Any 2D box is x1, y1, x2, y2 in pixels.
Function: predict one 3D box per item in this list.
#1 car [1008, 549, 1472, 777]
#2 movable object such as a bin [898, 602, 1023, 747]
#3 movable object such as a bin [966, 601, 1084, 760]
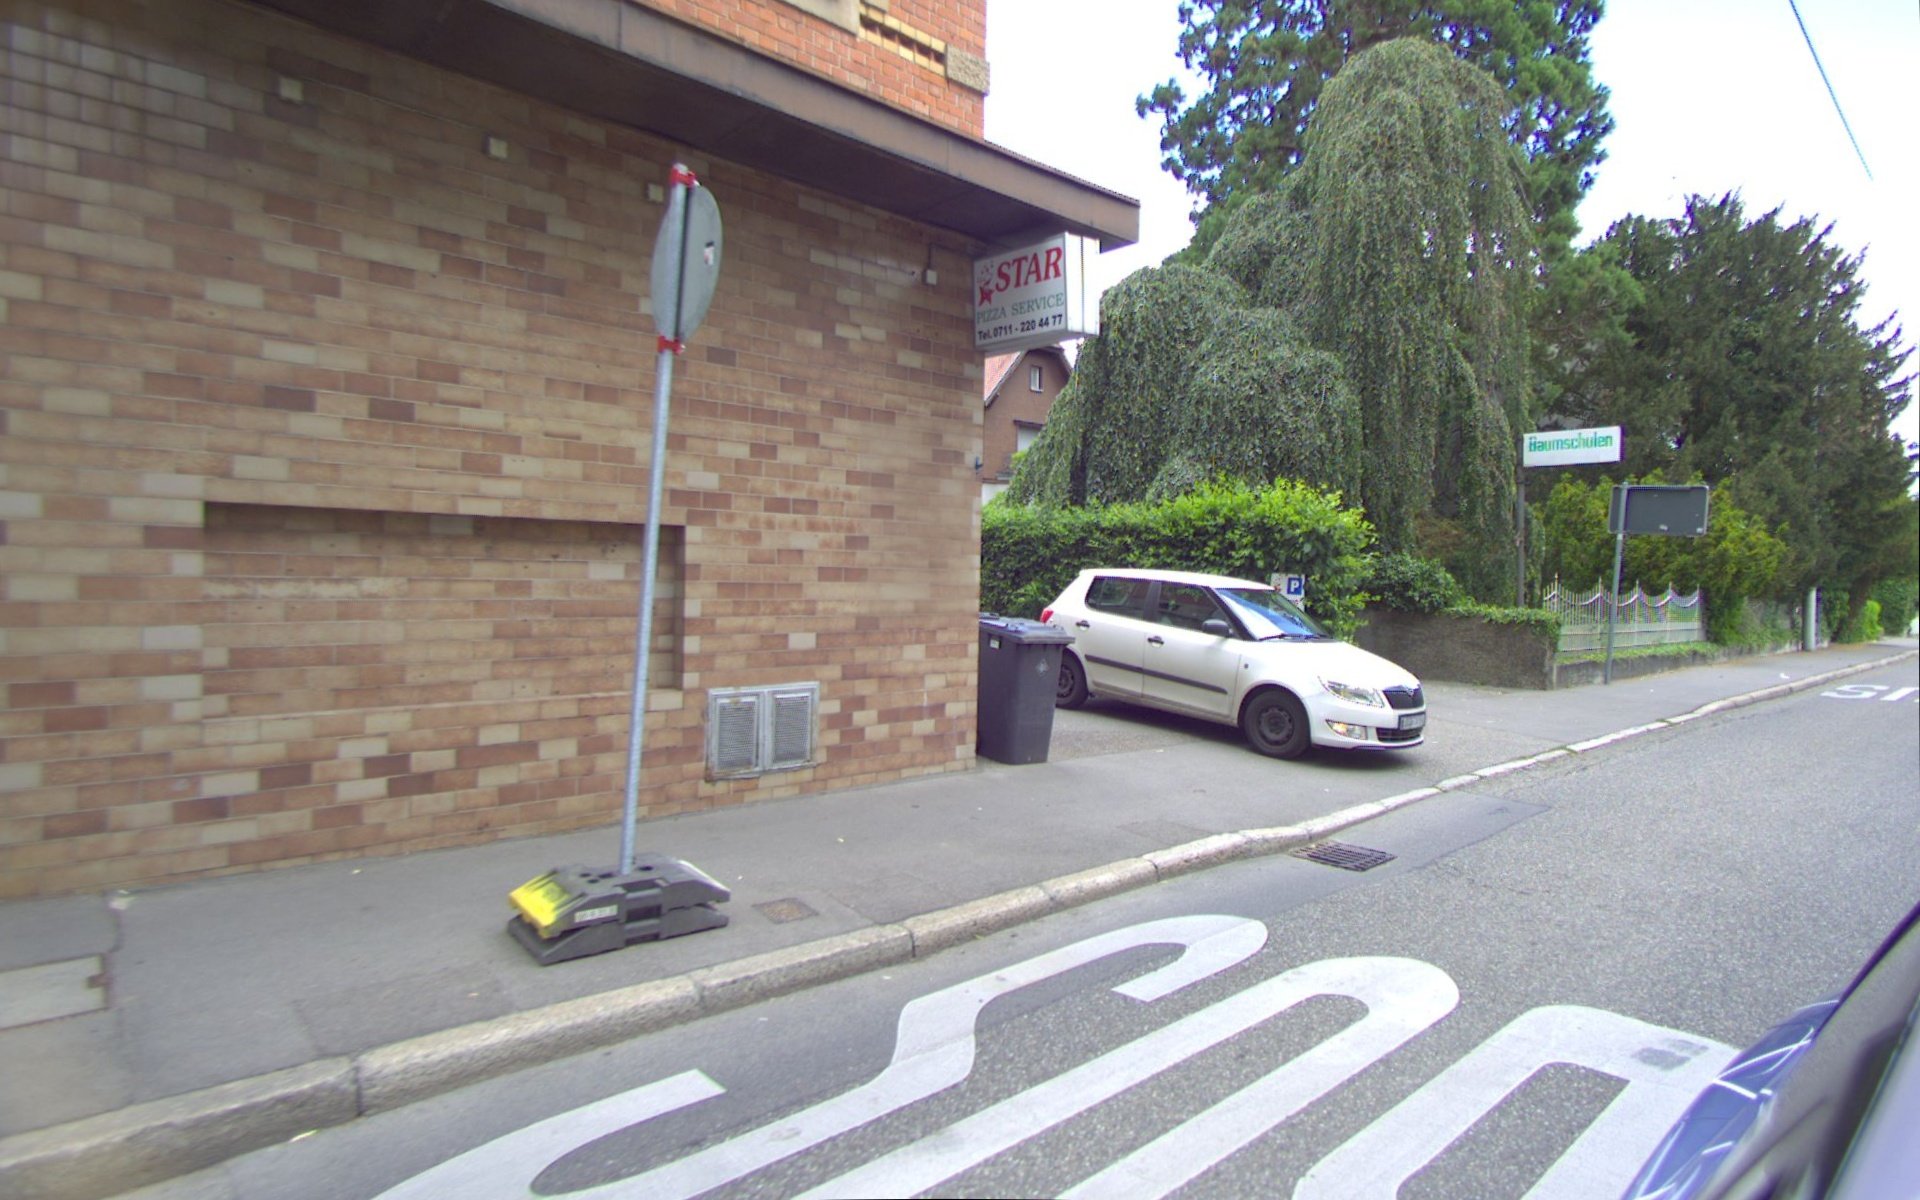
[{"bbox_3d":[2.491,0.407,9.820,1.574,1.487,4.037,0,6,-43],"label":"car"},{"bbox_3d":[0.003,0.577,8.321,0.711,1.072,0.700,0,4,-41],"label":"movable object such as a bin"},{"bbox_3d":[0.496,0.589,7.778,0.612,1.114,0.608,0,3,-41],"label":"movable object such as a bin"}]
